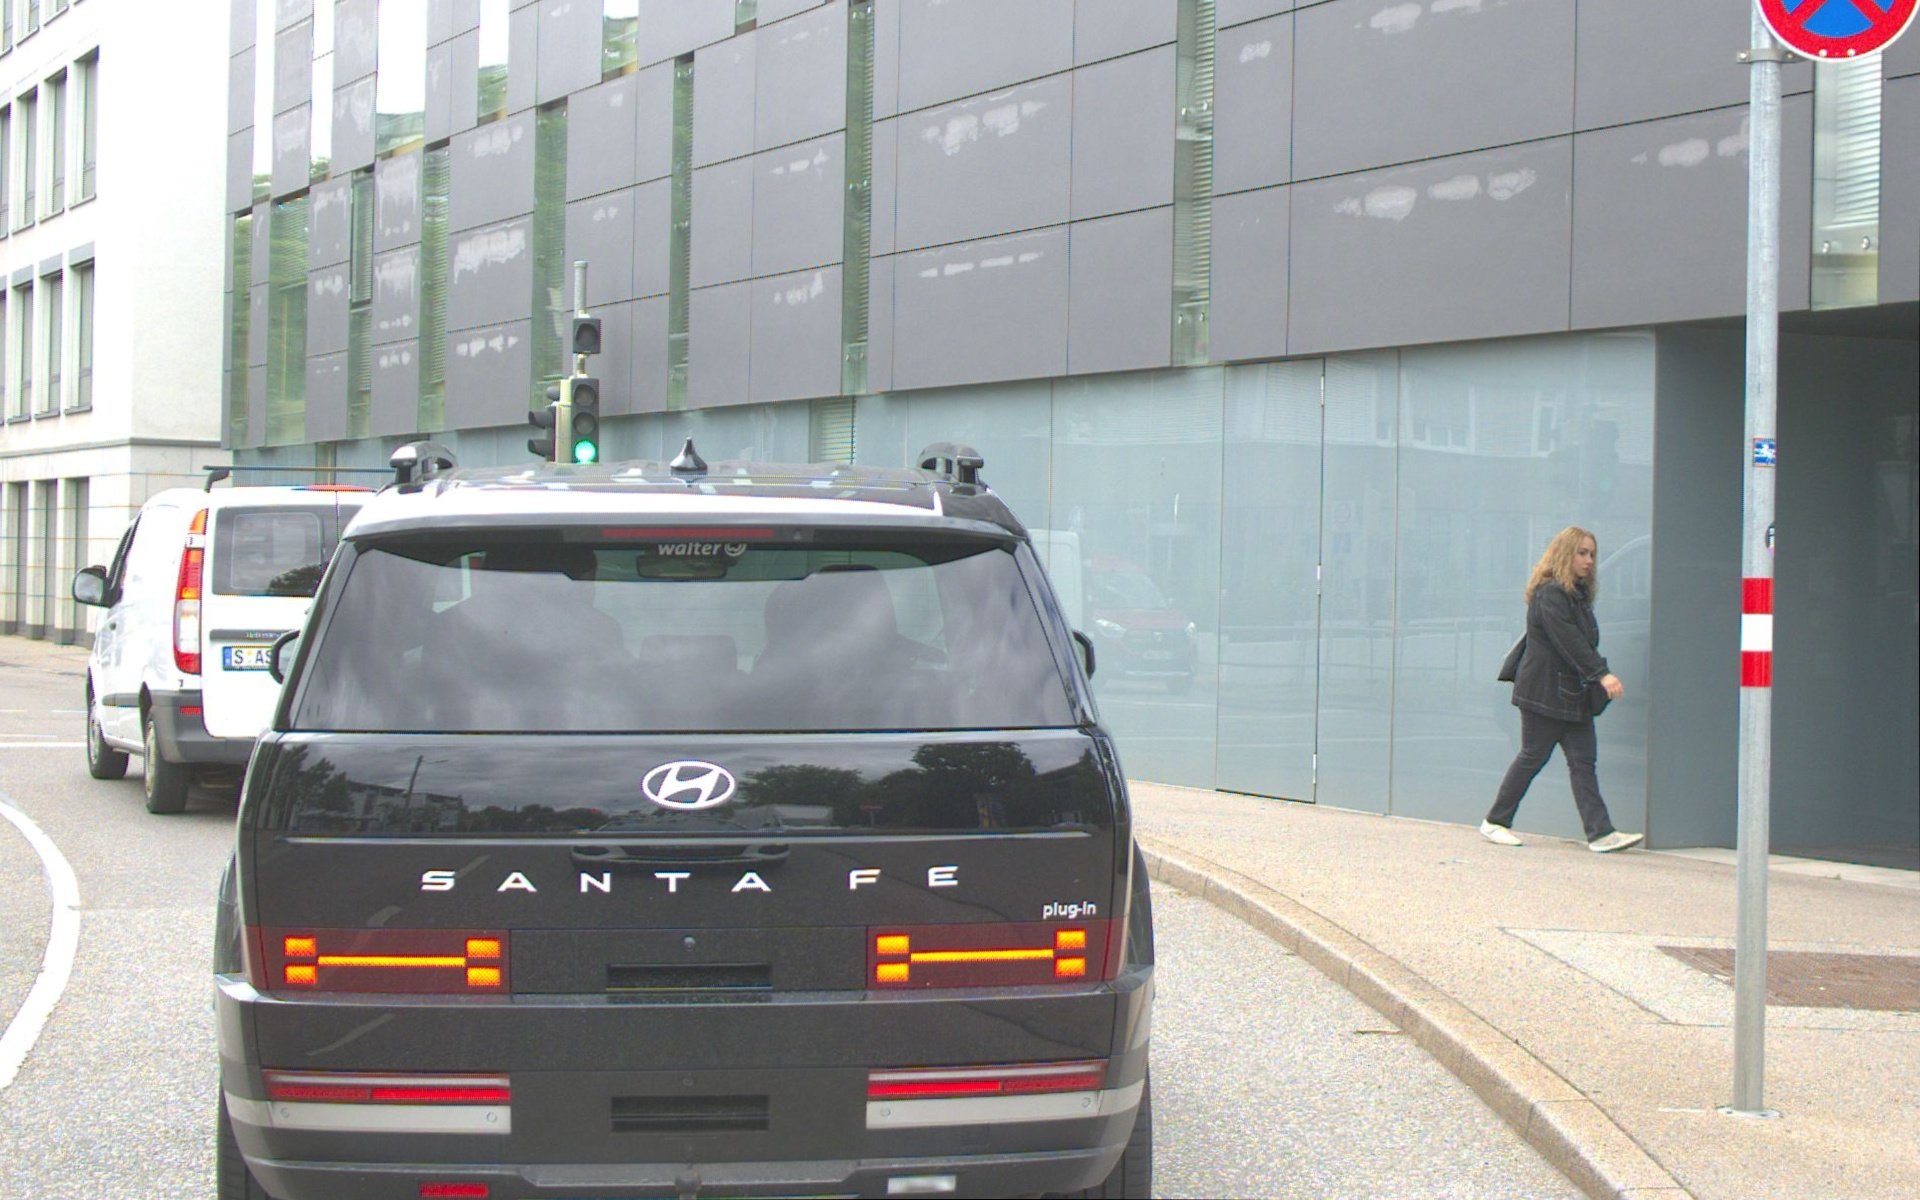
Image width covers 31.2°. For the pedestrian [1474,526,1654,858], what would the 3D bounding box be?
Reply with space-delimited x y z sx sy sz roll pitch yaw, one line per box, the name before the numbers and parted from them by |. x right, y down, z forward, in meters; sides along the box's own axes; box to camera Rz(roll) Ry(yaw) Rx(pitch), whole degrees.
pedestrian | 3.154 0.467 18.014 0.863 1.688 0.713 1 1 7

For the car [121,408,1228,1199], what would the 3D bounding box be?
car | -0.713 0.520 8.154 1.908 1.743 4.398 0 1 -6

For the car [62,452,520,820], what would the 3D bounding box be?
car | -4.208 0.167 21.016 1.931 1.987 4.536 1 1 -21
